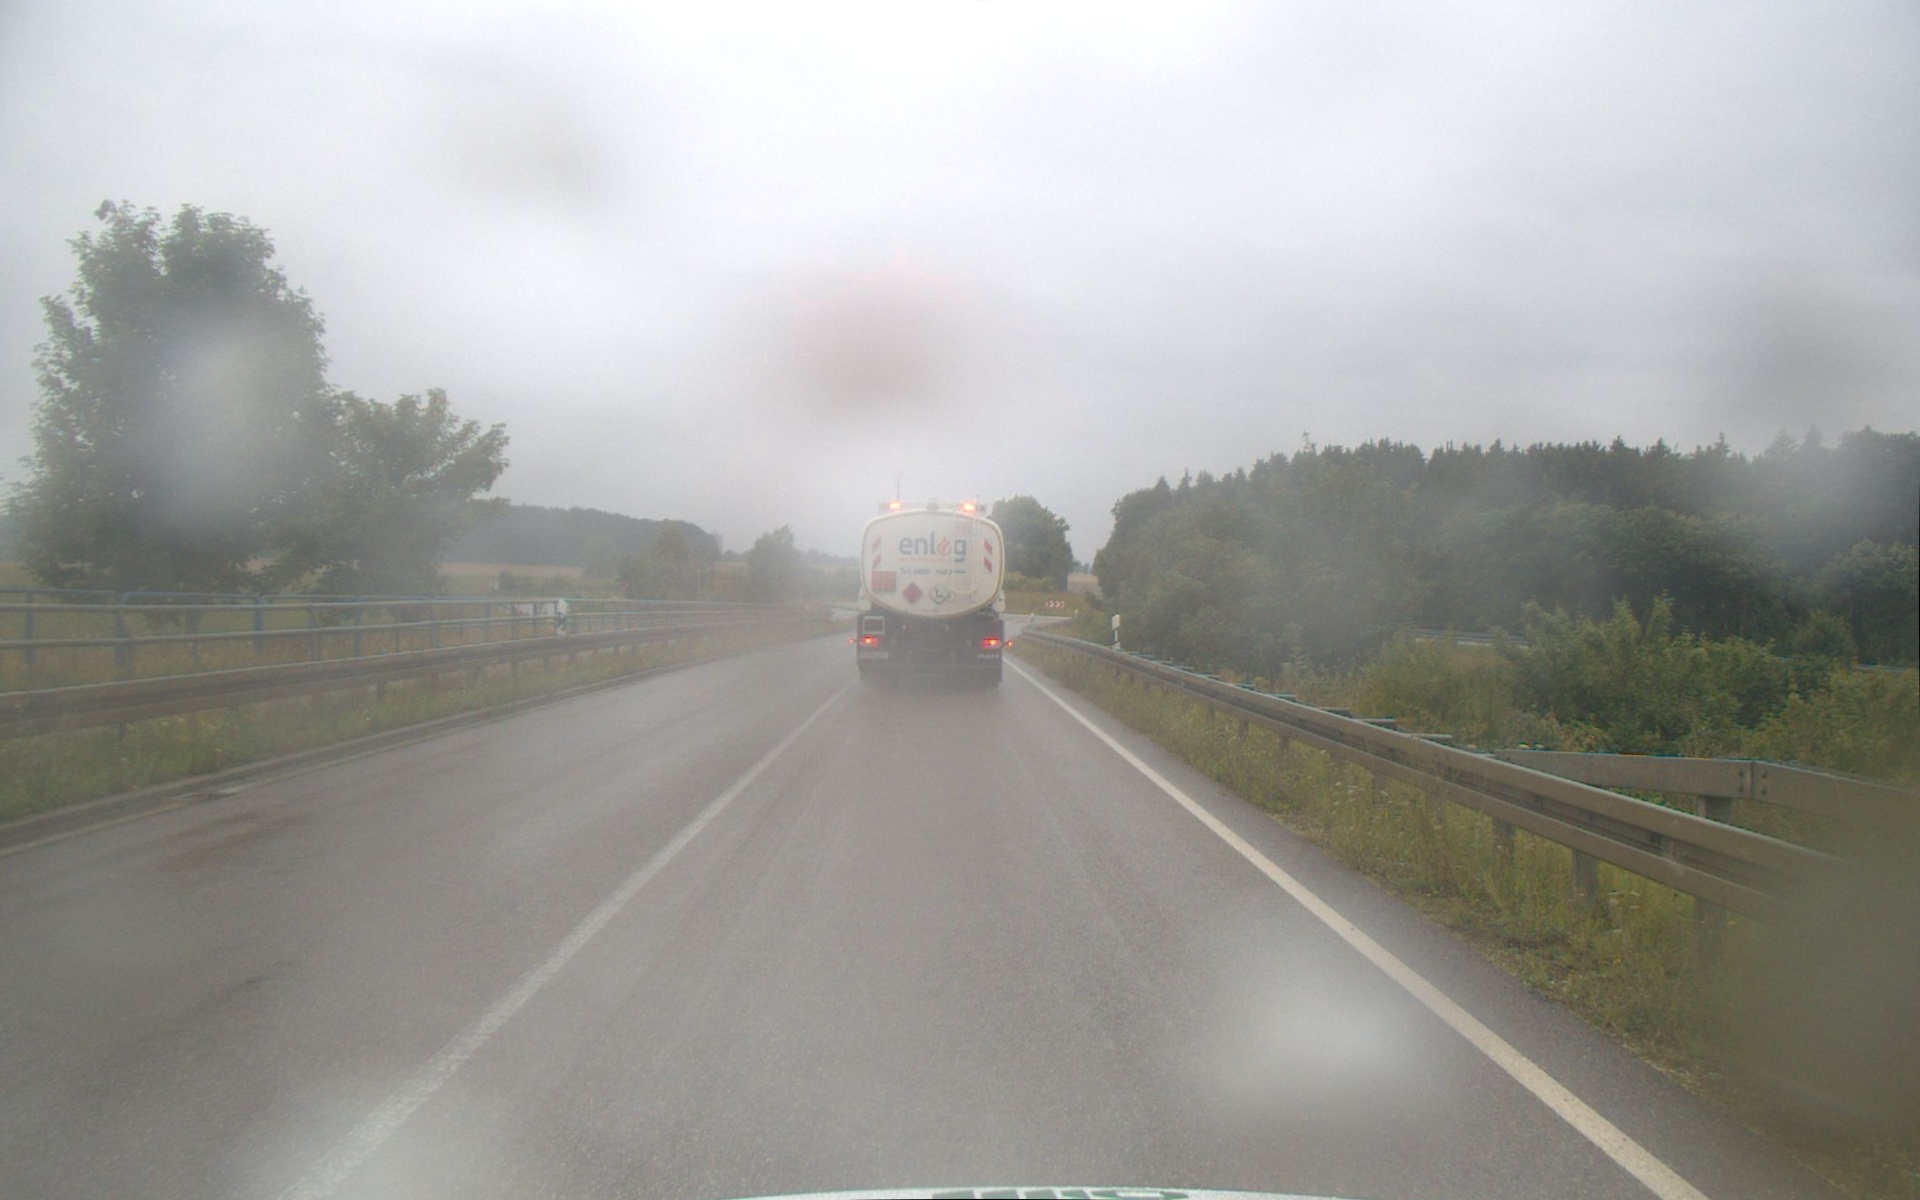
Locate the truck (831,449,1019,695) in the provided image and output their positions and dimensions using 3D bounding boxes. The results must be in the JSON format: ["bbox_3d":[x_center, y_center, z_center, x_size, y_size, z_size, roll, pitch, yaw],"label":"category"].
[{"bbox_3d":[-0.546,-0.465,31.009,2.977,3.919,8.822,1,0,0],"label":"truck"}]
